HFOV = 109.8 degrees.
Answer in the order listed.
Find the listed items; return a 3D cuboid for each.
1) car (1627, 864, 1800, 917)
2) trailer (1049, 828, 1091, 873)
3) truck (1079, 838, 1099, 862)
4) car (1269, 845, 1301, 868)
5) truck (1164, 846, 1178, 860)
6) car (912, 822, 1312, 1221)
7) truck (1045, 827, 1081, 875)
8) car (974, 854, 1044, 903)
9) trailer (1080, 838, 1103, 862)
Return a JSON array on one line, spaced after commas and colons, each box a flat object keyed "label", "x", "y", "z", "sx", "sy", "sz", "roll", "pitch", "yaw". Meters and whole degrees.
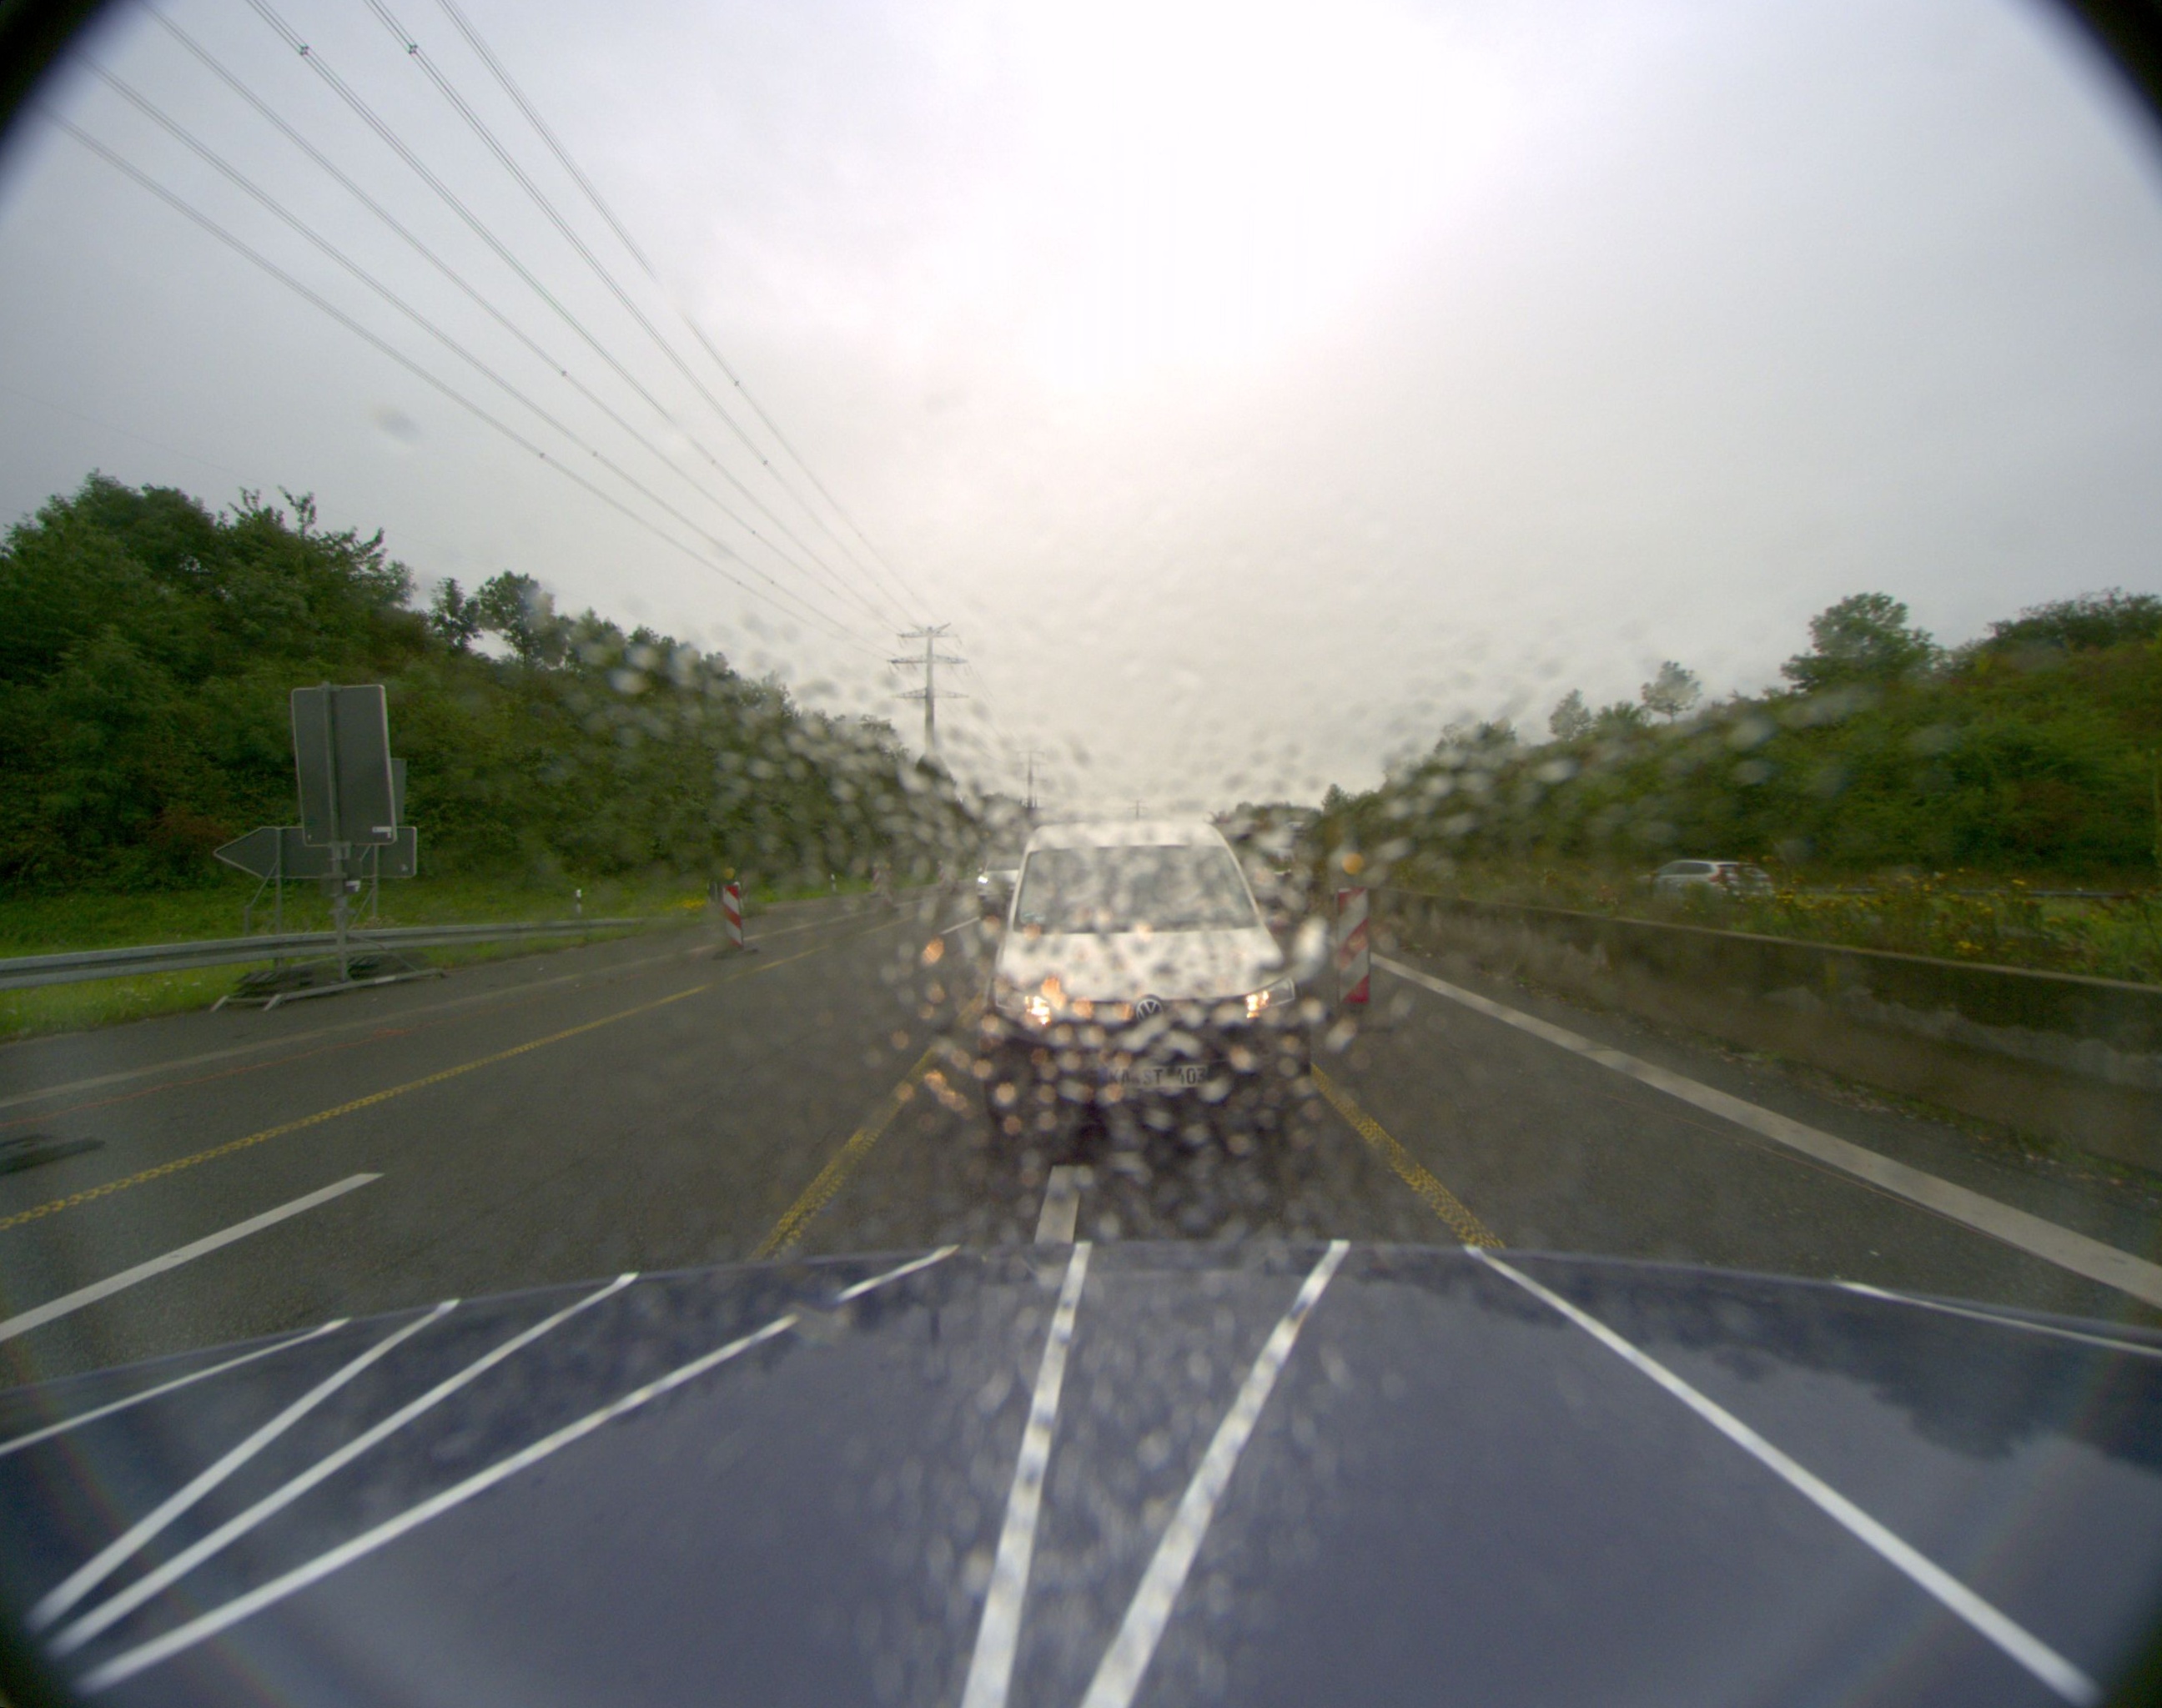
[{"label": "car", "x": 19.255, "y": 1.056, "z": 23.421, "sx": 1.998, "sy": 1.471, "sz": 4.109, "roll": 0, "pitch": 0, "yaw": 2}, {"label": "trailer", "x": -0.888, "y": -0.434, "z": 72.685, "sx": 2.525, "sy": 3.812, "sz": 12.354, "roll": -2, "pitch": 1, "yaw": 5}, {"label": "truck", "x": 1.389, "y": -0.673, "z": 130.091, "sx": 2.747, "sy": 3.912, "sz": 5.398, "roll": -2, "pitch": 1, "yaw": 5}, {"label": "car", "x": 22.457, "y": 0.240, "z": 83.757, "sx": 2.245, "sy": 2.426, "sz": 5.885, "roll": 0, "pitch": 0, "yaw": 4}, {"label": "truck", "x": 30.230, "y": -0.417, "z": 255.682, "sx": 3.414, "sy": 4.498, "sz": 17.288, "roll": -1, "pitch": 1, "yaw": 3}, {"label": "car", "x": 0.167, "y": 0.768, "z": 5.812, "sx": 1.770, "sy": 1.774, "sz": 4.647, "roll": -2, "pitch": 0, "yaw": 1}, {"label": "truck", "x": -1.494, "y": -0.295, "z": 66.433, "sx": 2.553, "sy": 3.924, "sz": 4.001, "roll": -2, "pitch": 1, "yaw": 5}, {"label": "car", "x": -2.654, "y": 0.866, "z": 29.473, "sx": 2.051, "sy": 1.587, "sz": 5.801, "roll": -2, "pitch": 0, "yaw": 1}, {"label": "trailer", "x": 2.012, "y": -0.849, "z": 135.949, "sx": 2.807, "sy": 3.980, "sz": 14.152, "roll": -2, "pitch": 1, "yaw": 5}]
